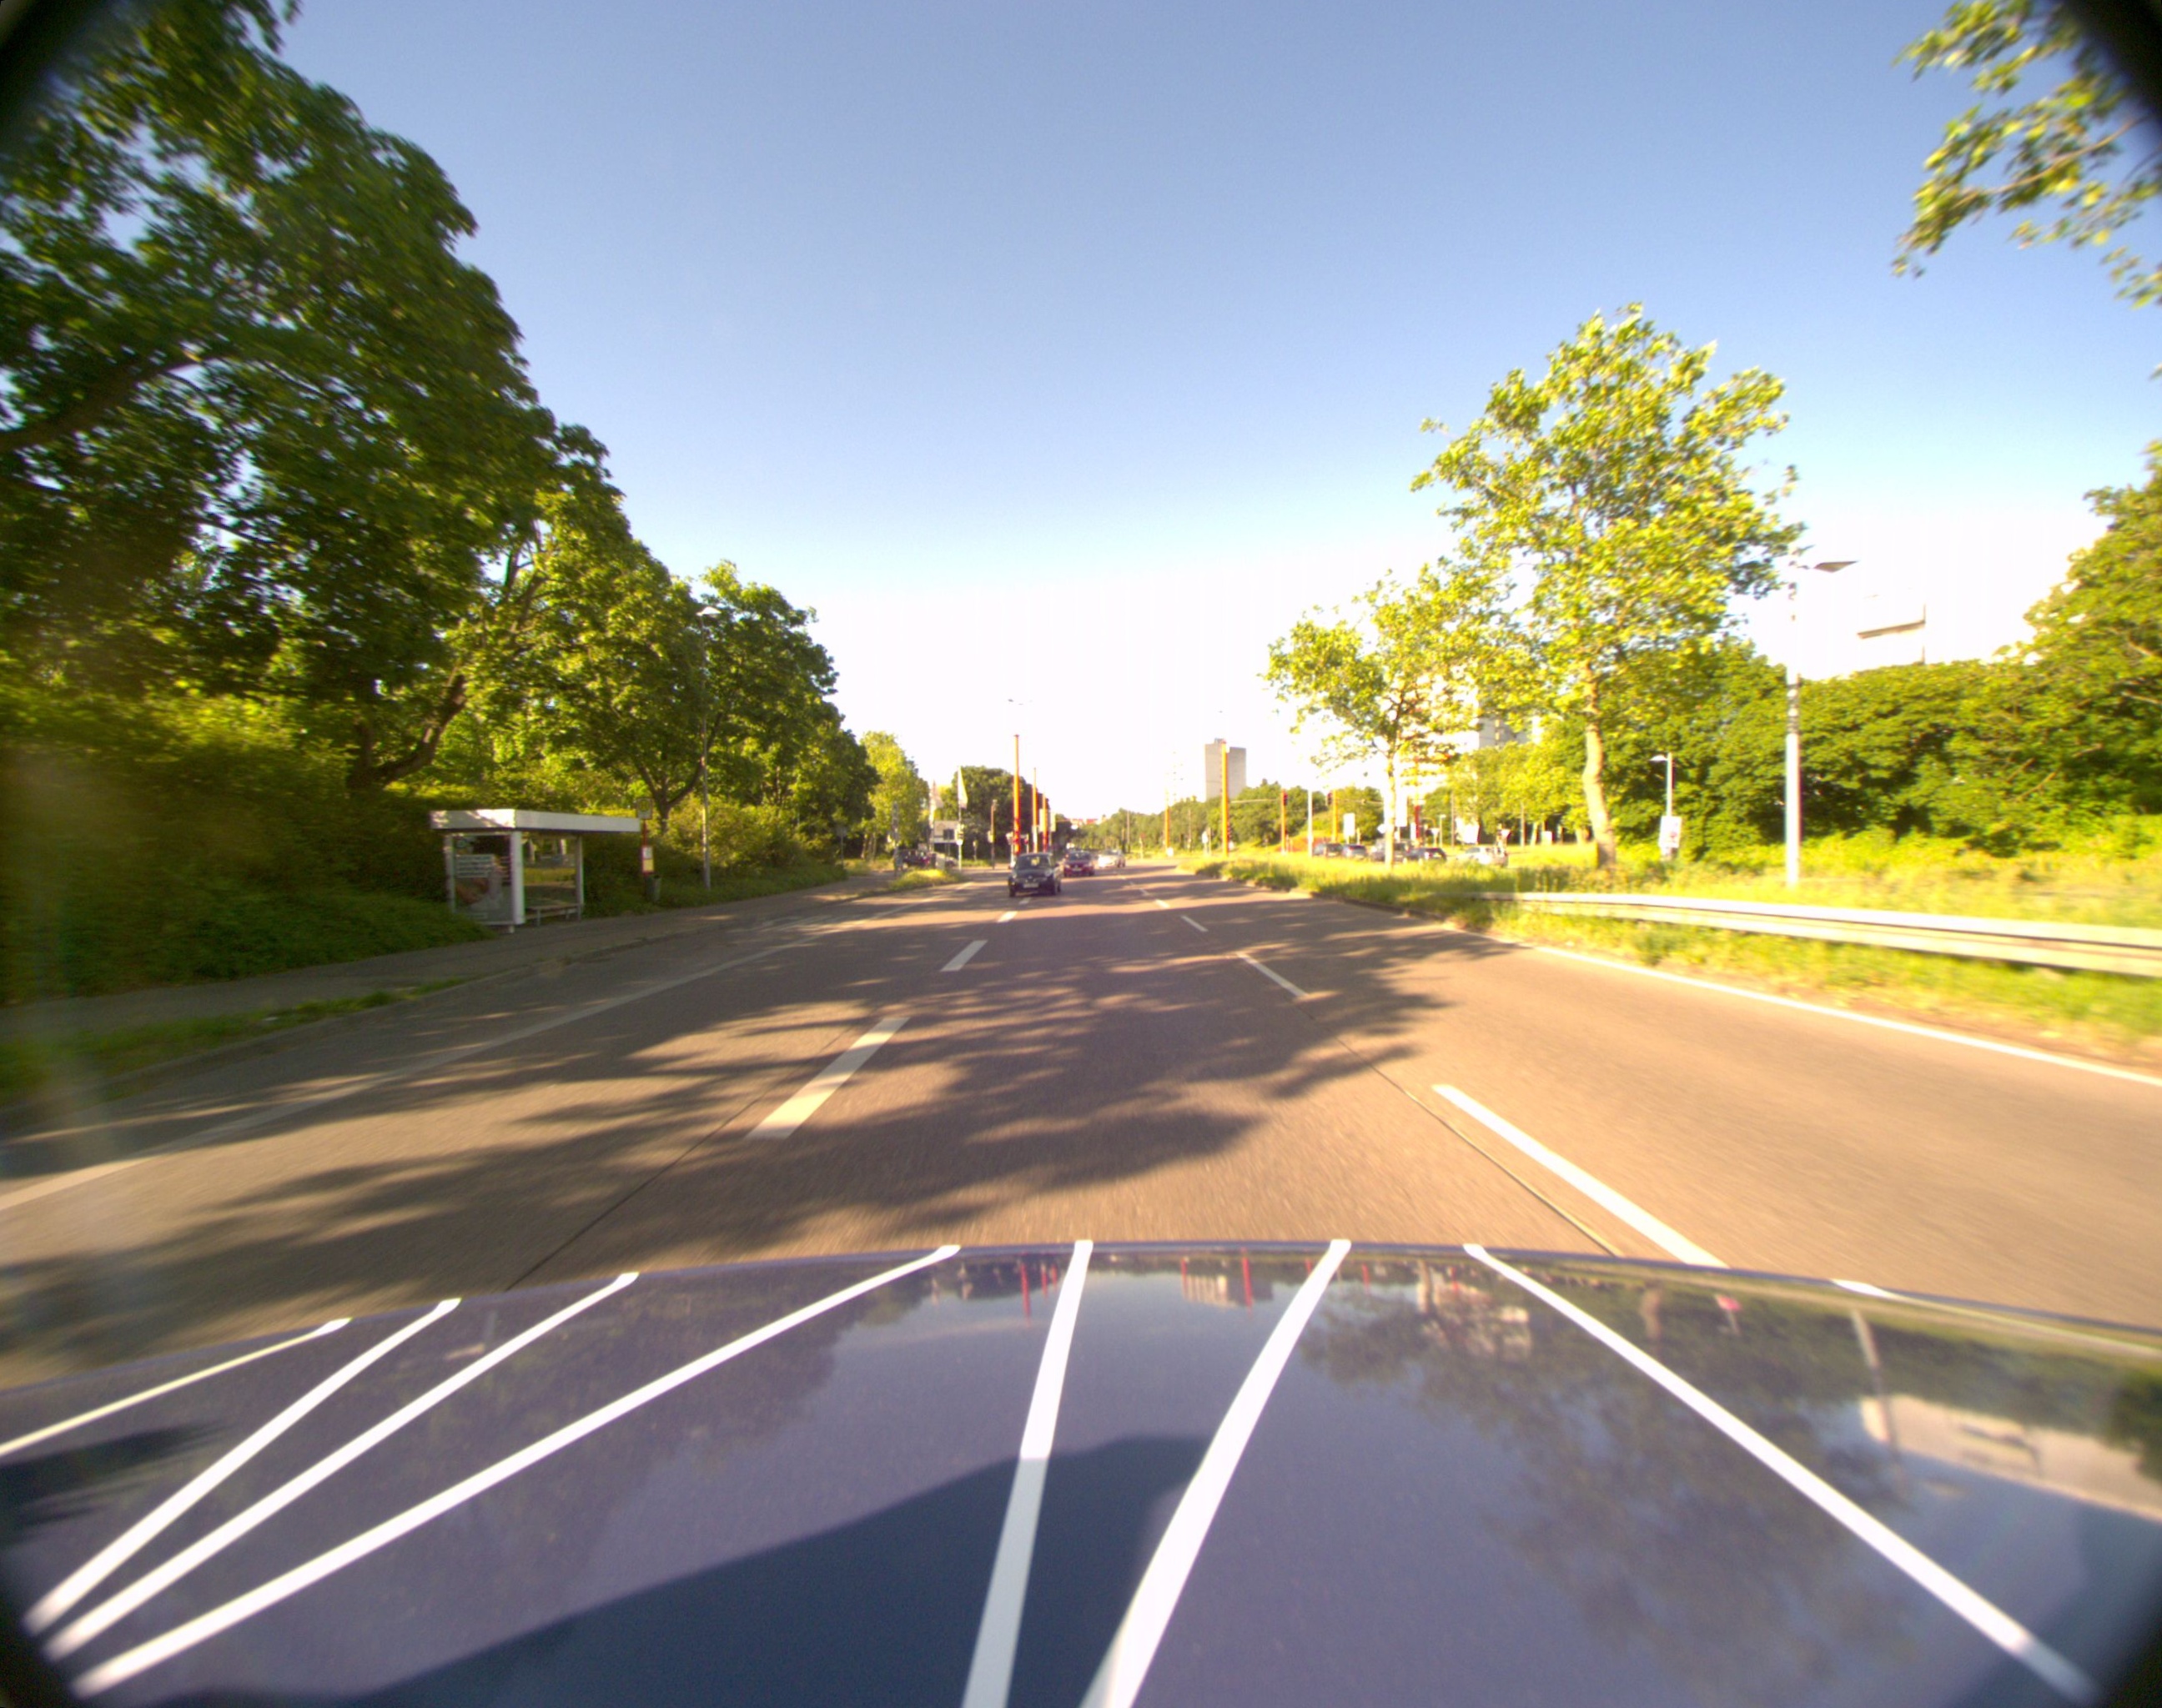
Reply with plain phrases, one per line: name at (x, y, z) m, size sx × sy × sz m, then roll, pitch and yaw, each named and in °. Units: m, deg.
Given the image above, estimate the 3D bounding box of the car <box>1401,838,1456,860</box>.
car at (25.160, -0.363, 55.230) m, size 1.903 × 1.466 × 4.565 m, roll 1°, pitch 1°, yaw 0°

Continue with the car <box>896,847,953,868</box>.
car at (-13.710, 0.304, 66.490) m, size 4.657 × 1.716 × 1.905 m, roll -1°, pitch 0°, yaw -18°

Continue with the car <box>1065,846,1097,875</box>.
car at (-0.002, 0.362, 45.170) m, size 1.772 × 1.549 × 4.726 m, roll -1°, pitch 0°, yaw 0°

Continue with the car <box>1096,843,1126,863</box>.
car at (2.532, -0.073, 63.427) m, size 1.912 × 1.549 × 4.730 m, roll -1°, pitch 0°, yaw 10°

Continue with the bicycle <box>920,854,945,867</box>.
bicycle at (-12.339, 0.524, 63.303) m, size 2.015 × 1.085 × 0.765 m, roll 0°, pitch 1°, yaw -11°

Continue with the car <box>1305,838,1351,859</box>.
car at (18.485, -0.415, 57.095) m, size 1.903 × 1.556 × 4.565 m, roll 1°, pitch 1°, yaw 0°

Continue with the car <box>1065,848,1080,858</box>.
car at (-1.231, -0.174, 109.477) m, size 1.999 × 1.486 × 4.287 m, roll -1°, pitch 0°, yaw -3°

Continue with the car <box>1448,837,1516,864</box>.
car at (25.331, -0.252, 48.164) m, size 1.903 × 1.601 × 4.565 m, roll 1°, pitch 1°, yaw 0°

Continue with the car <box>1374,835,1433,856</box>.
car at (35.252, -0.923, 83.284) m, size 5.651 × 2.191 × 2.043 m, roll -1°, pitch 1°, yaw 14°

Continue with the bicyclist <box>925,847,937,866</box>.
bicyclist at (-12.471, 0.184, 63.270) m, size 0.981 × 1.549 × 0.760 m, roll 0°, pitch 1°, yaw -10°

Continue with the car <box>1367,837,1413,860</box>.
car at (25.154, -0.451, 61.988) m, size 1.903 × 1.765 × 4.446 m, roll 1°, pitch 1°, yaw 0°

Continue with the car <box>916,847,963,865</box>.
car at (-13.155, 0.172, 70.697) m, size 4.094 × 1.530 × 1.770 m, roll -1°, pitch 0°, yaw -18°

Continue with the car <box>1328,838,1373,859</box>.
car at (21.529, -0.404, 60.882) m, size 1.903 × 1.601 × 4.565 m, roll 1°, pitch 1°, yaw 0°

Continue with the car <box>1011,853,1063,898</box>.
car at (-1.529, 0.707, 27.851) m, size 1.739 × 1.474 × 4.621 m, roll -1°, pitch 0°, yaw -1°
